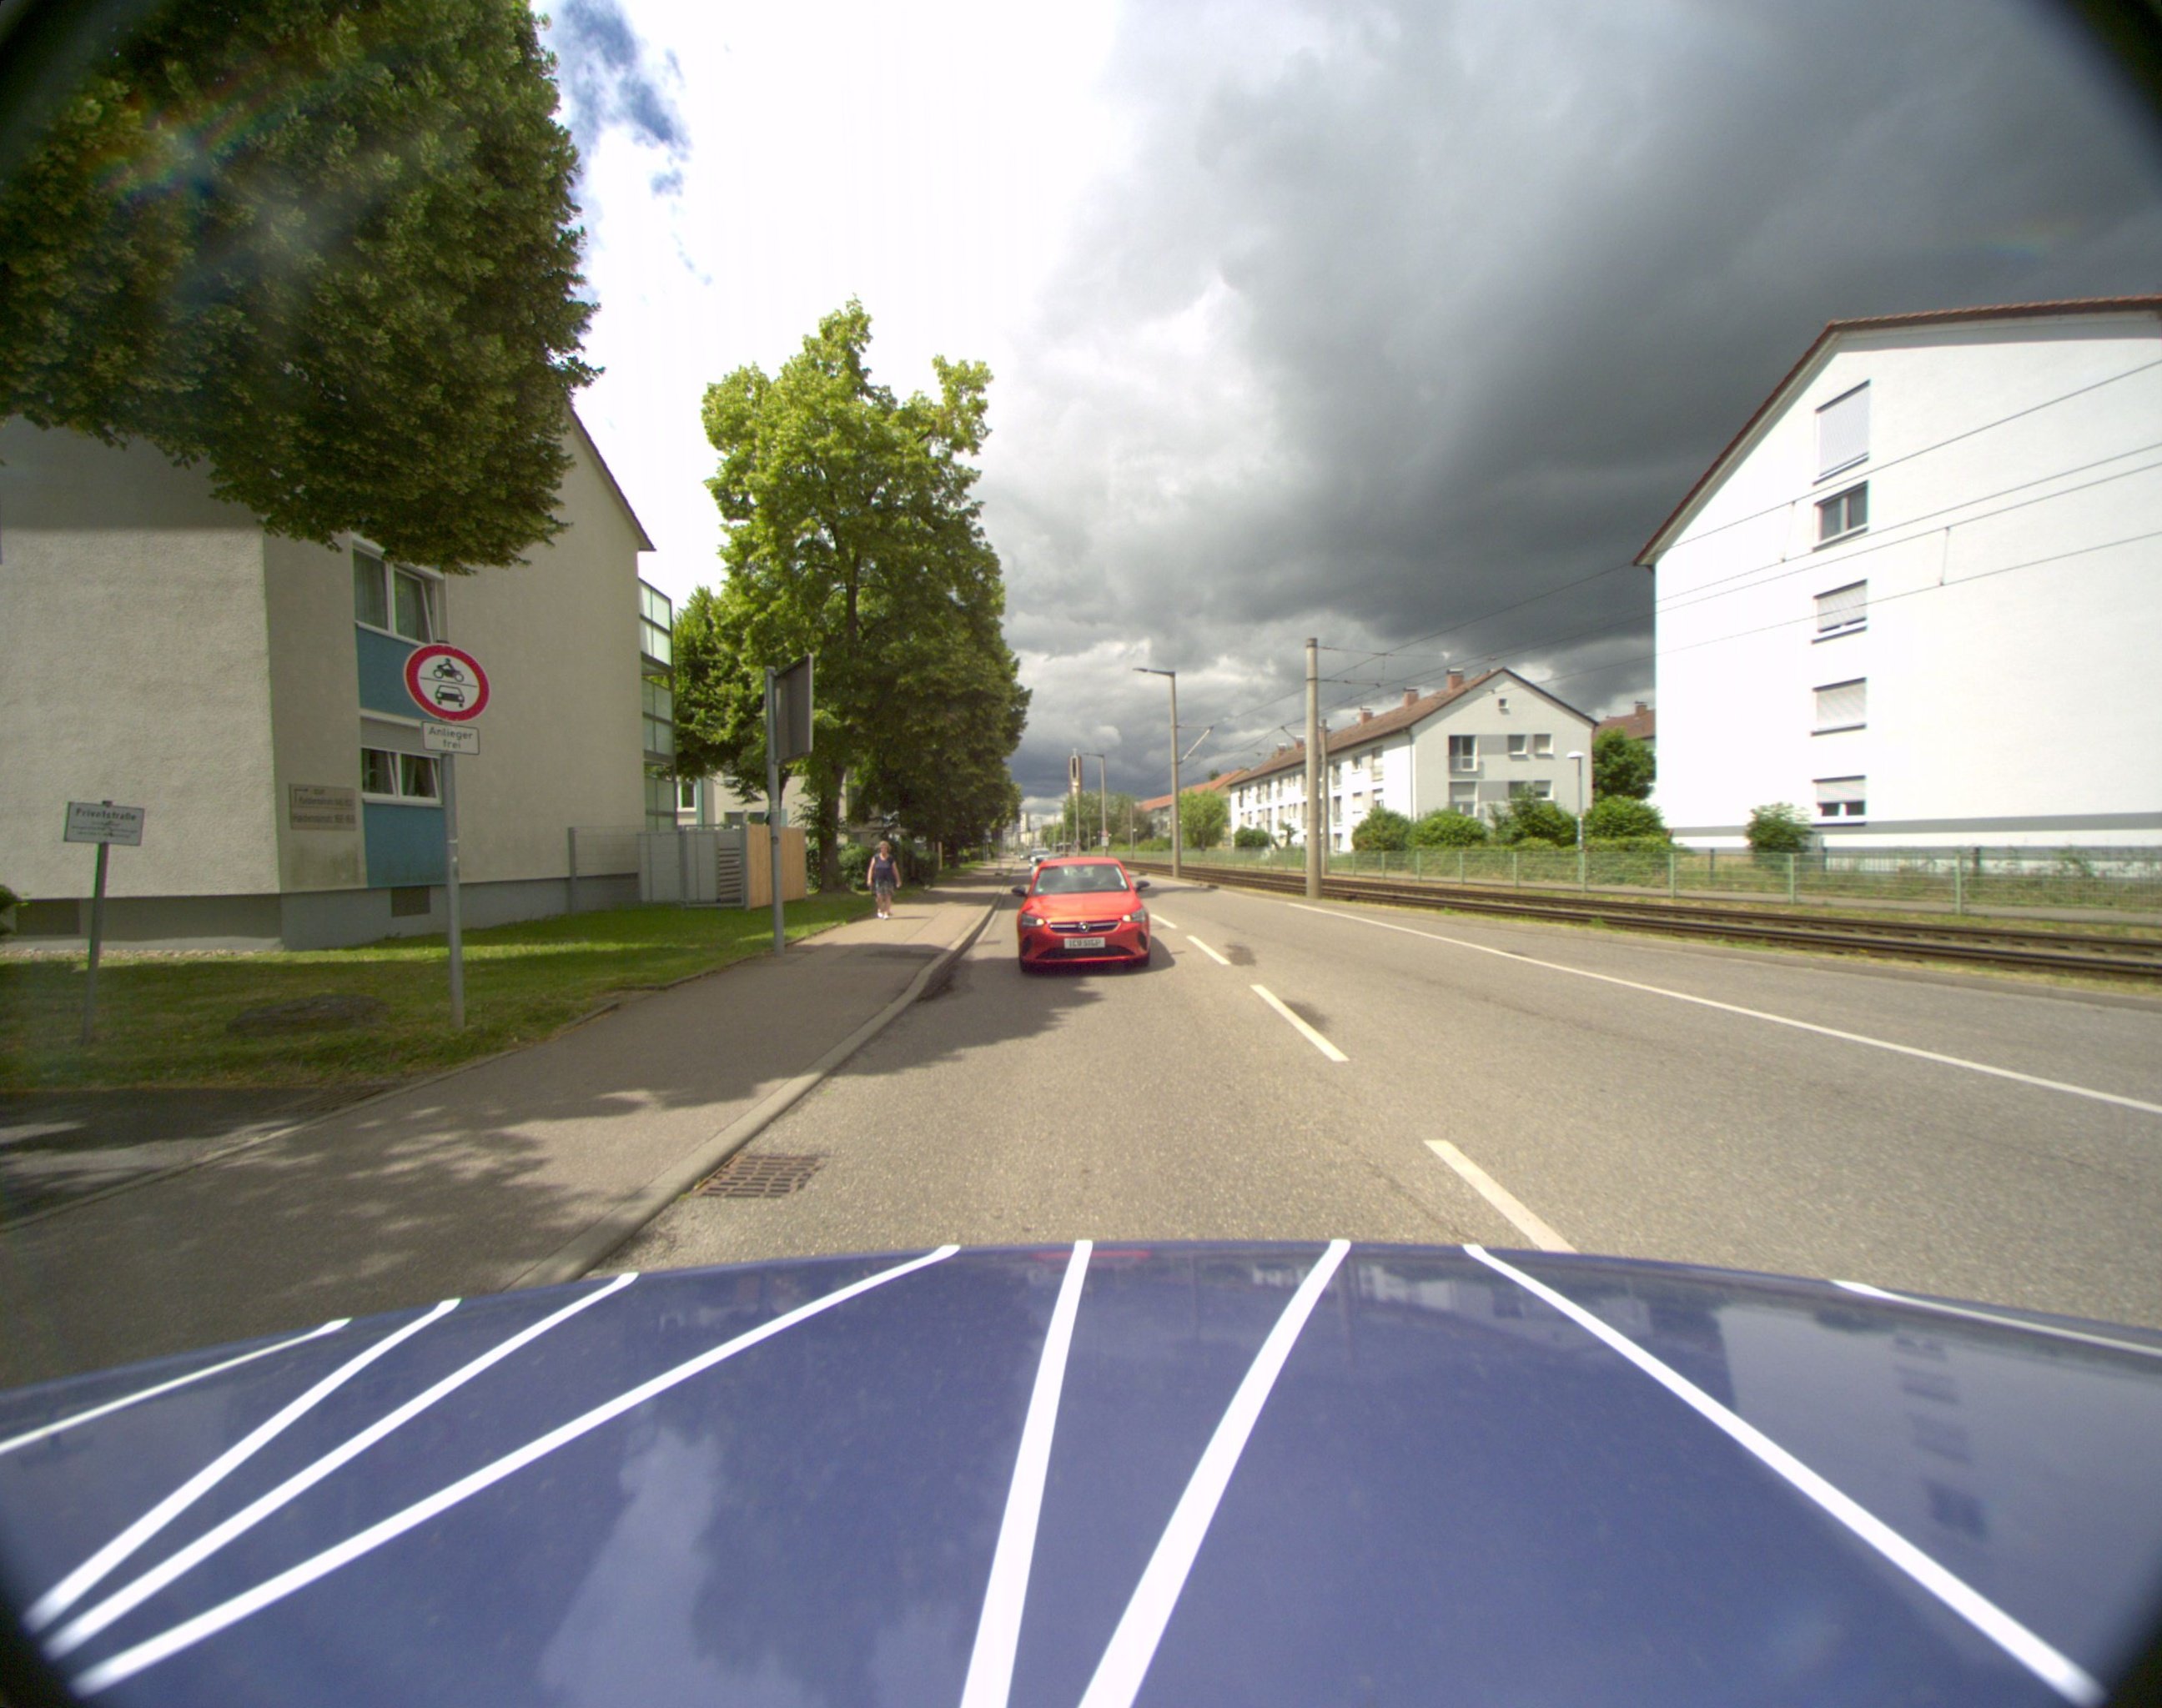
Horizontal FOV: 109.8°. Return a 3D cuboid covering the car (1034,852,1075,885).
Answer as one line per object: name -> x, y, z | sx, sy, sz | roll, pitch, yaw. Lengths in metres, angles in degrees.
car -> -1.276, 0.639, 34.946 | 1.764, 1.390, 3.998 | 0, 1, -4

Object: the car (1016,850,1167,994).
car -> 0.027, 0.805, 11.071 | 1.766, 1.549, 3.997 | -2, 2, -3

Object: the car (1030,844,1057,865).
car -> -3.066, 0.022, 61.718 | 2.000, 1.598, 3.997 | 0, 1, -6

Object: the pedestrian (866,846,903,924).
pedestrian -> -4.275, 0.661, 16.578 | 0.684, 1.651, 0.831 | -1, 1, -10

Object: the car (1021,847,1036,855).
car -> -8.948, -0.529, 129.397 | 1.918, 1.309, 4.000 | 0, 1, 4
